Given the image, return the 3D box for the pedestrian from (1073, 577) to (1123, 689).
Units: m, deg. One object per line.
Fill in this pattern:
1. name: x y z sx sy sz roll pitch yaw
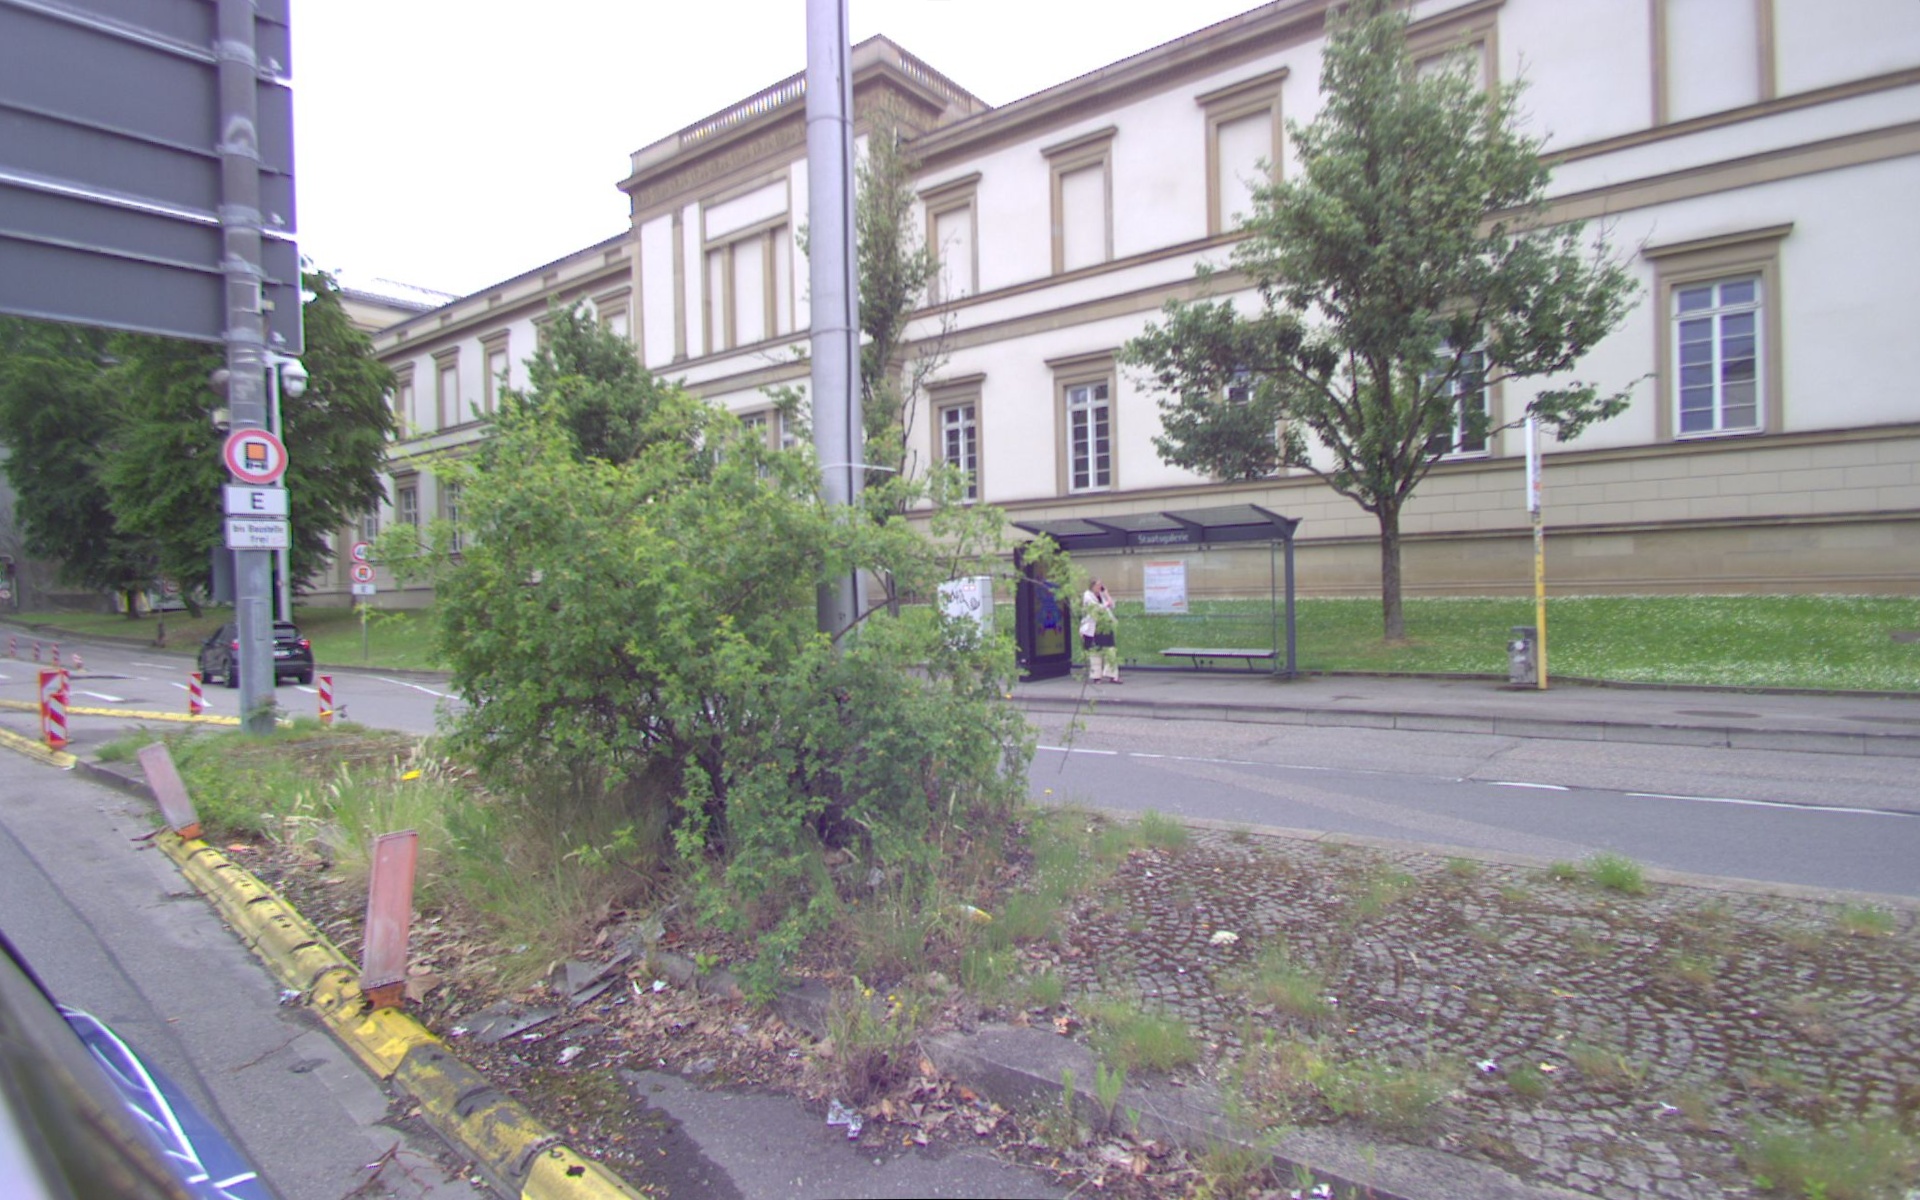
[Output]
1. pedestrian: 2.153 0.506 15.792 0.578 1.708 0.460 -2 0 -16

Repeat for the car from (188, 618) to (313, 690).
1. car: -17.394 1.279 24.743 3.880 1.603 1.646 -2 -1 41
